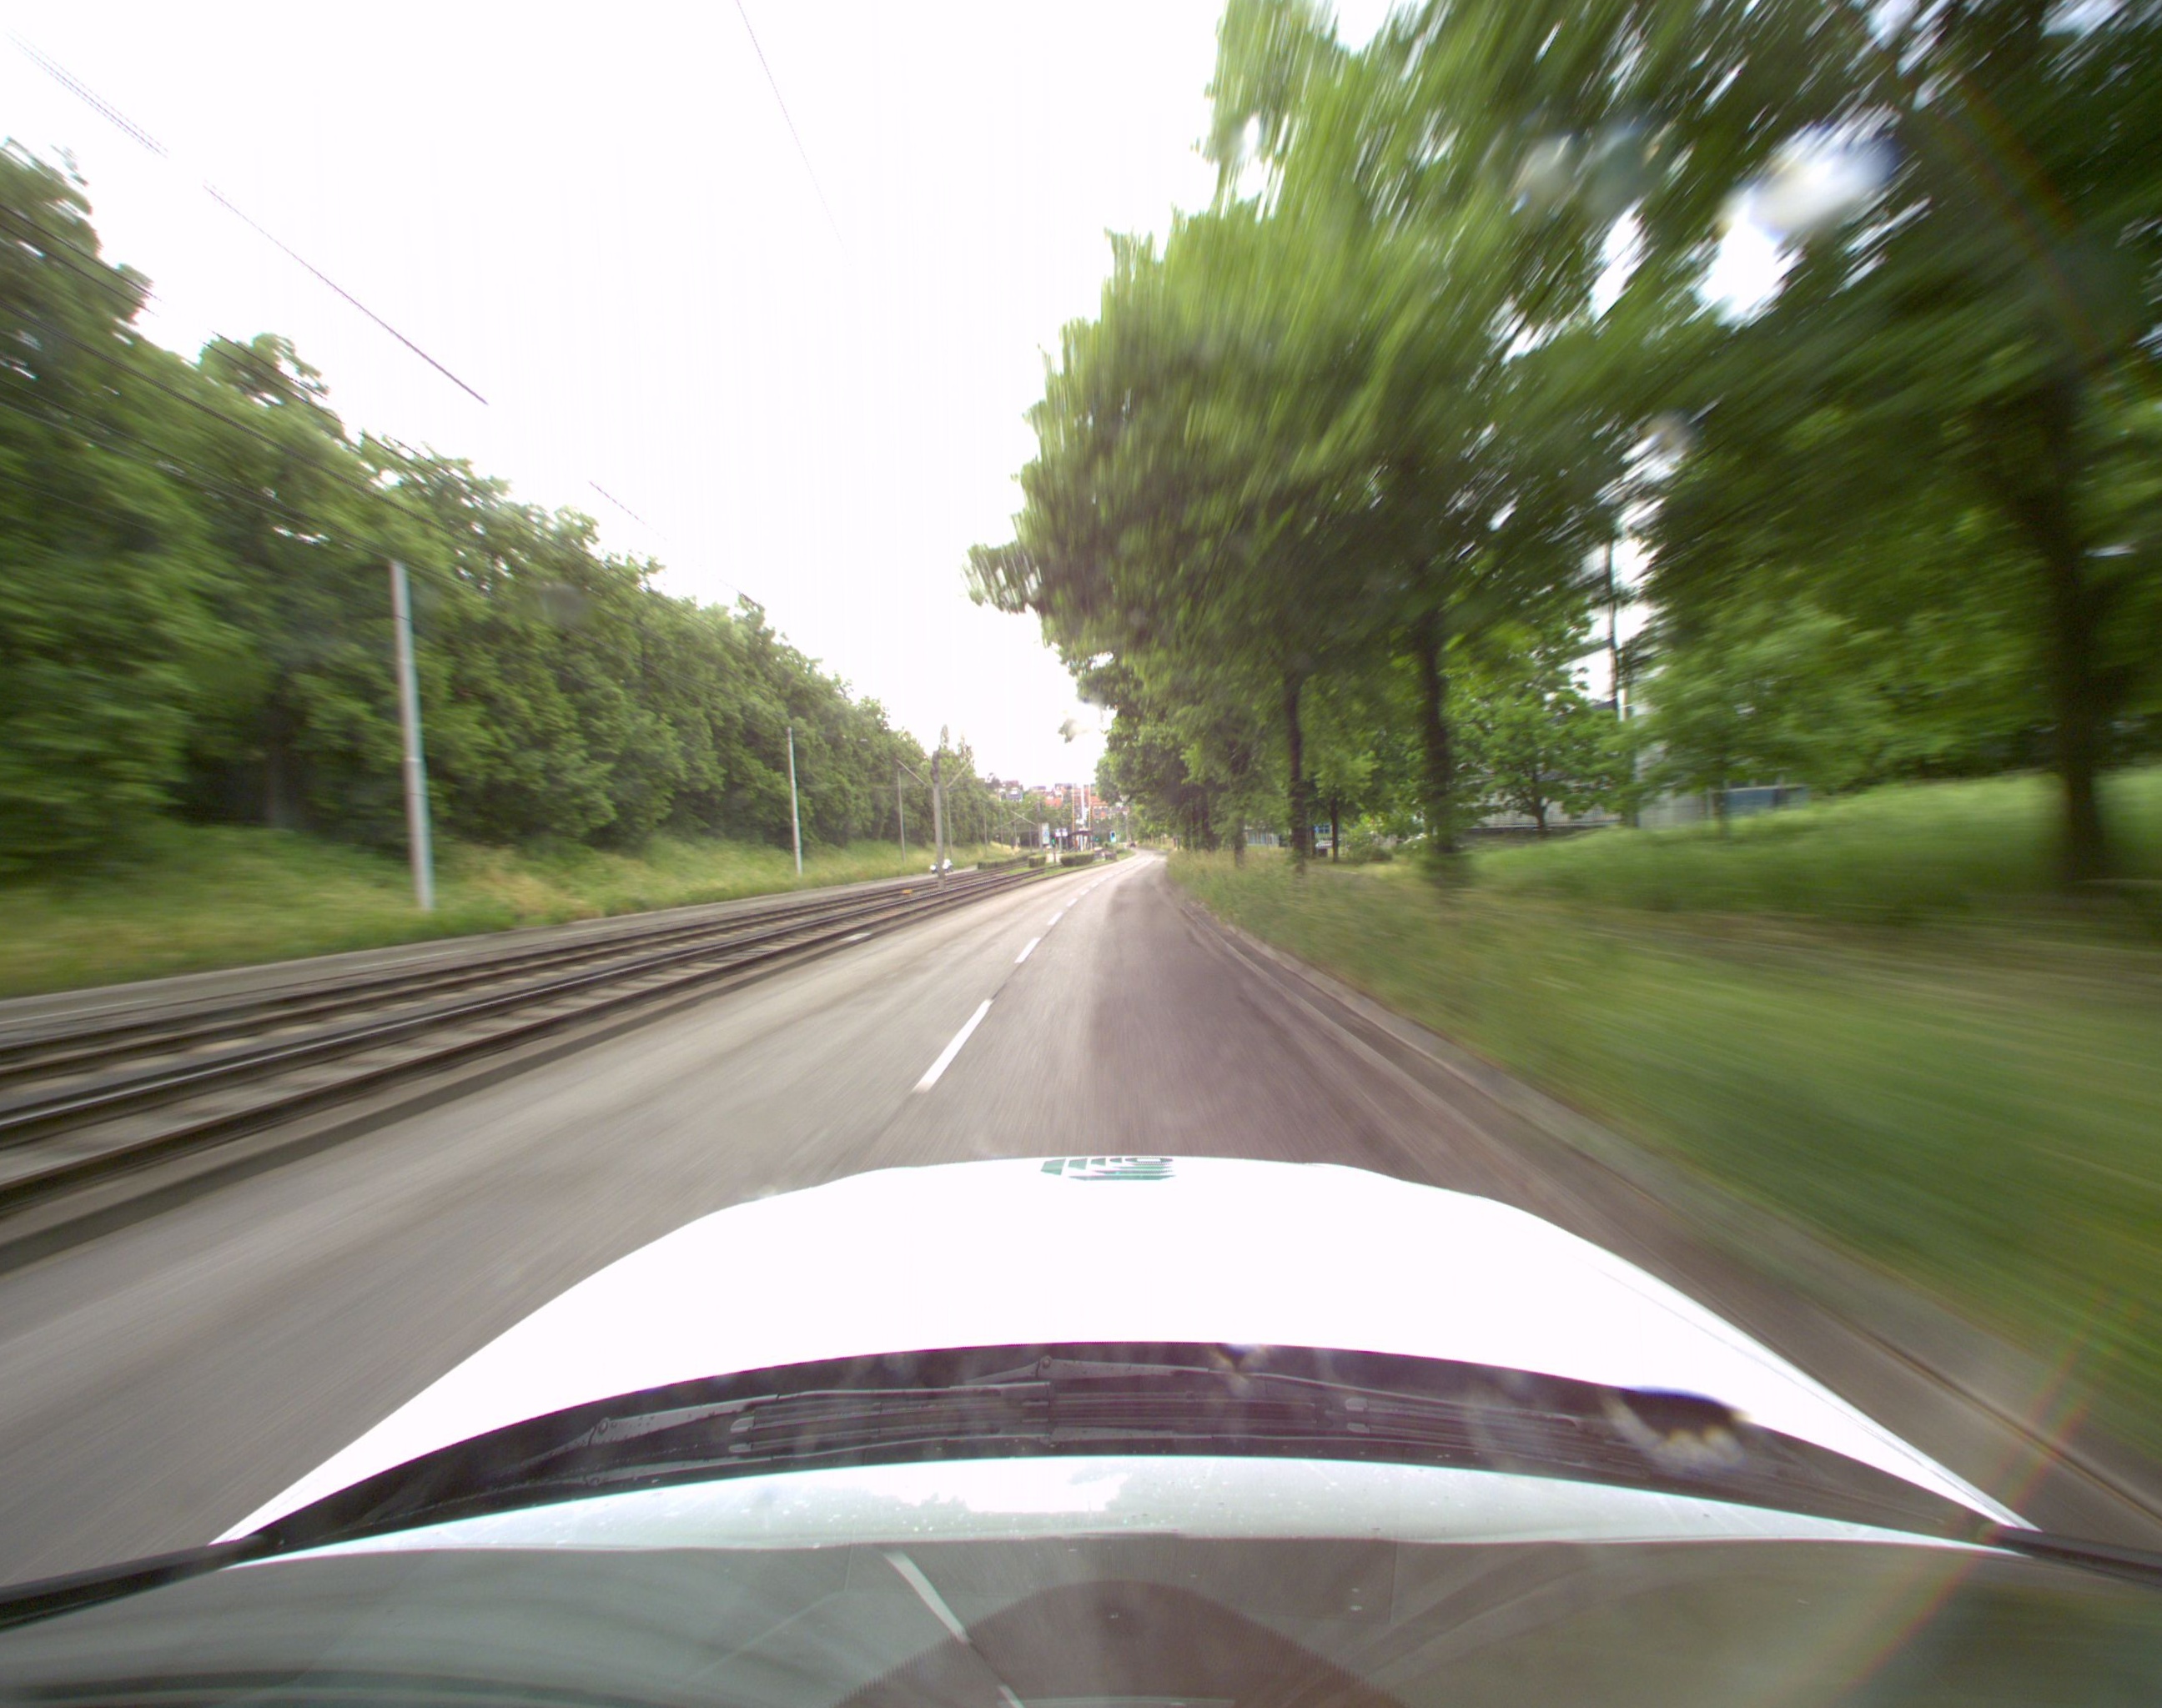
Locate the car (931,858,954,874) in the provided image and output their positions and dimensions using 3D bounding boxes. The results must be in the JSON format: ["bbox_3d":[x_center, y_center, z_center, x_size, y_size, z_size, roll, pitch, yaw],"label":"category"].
[{"bbox_3d":[-14.898,1.296,87.855,1.779,1.552,3.960,-4,0,-1],"label":"car"}]
